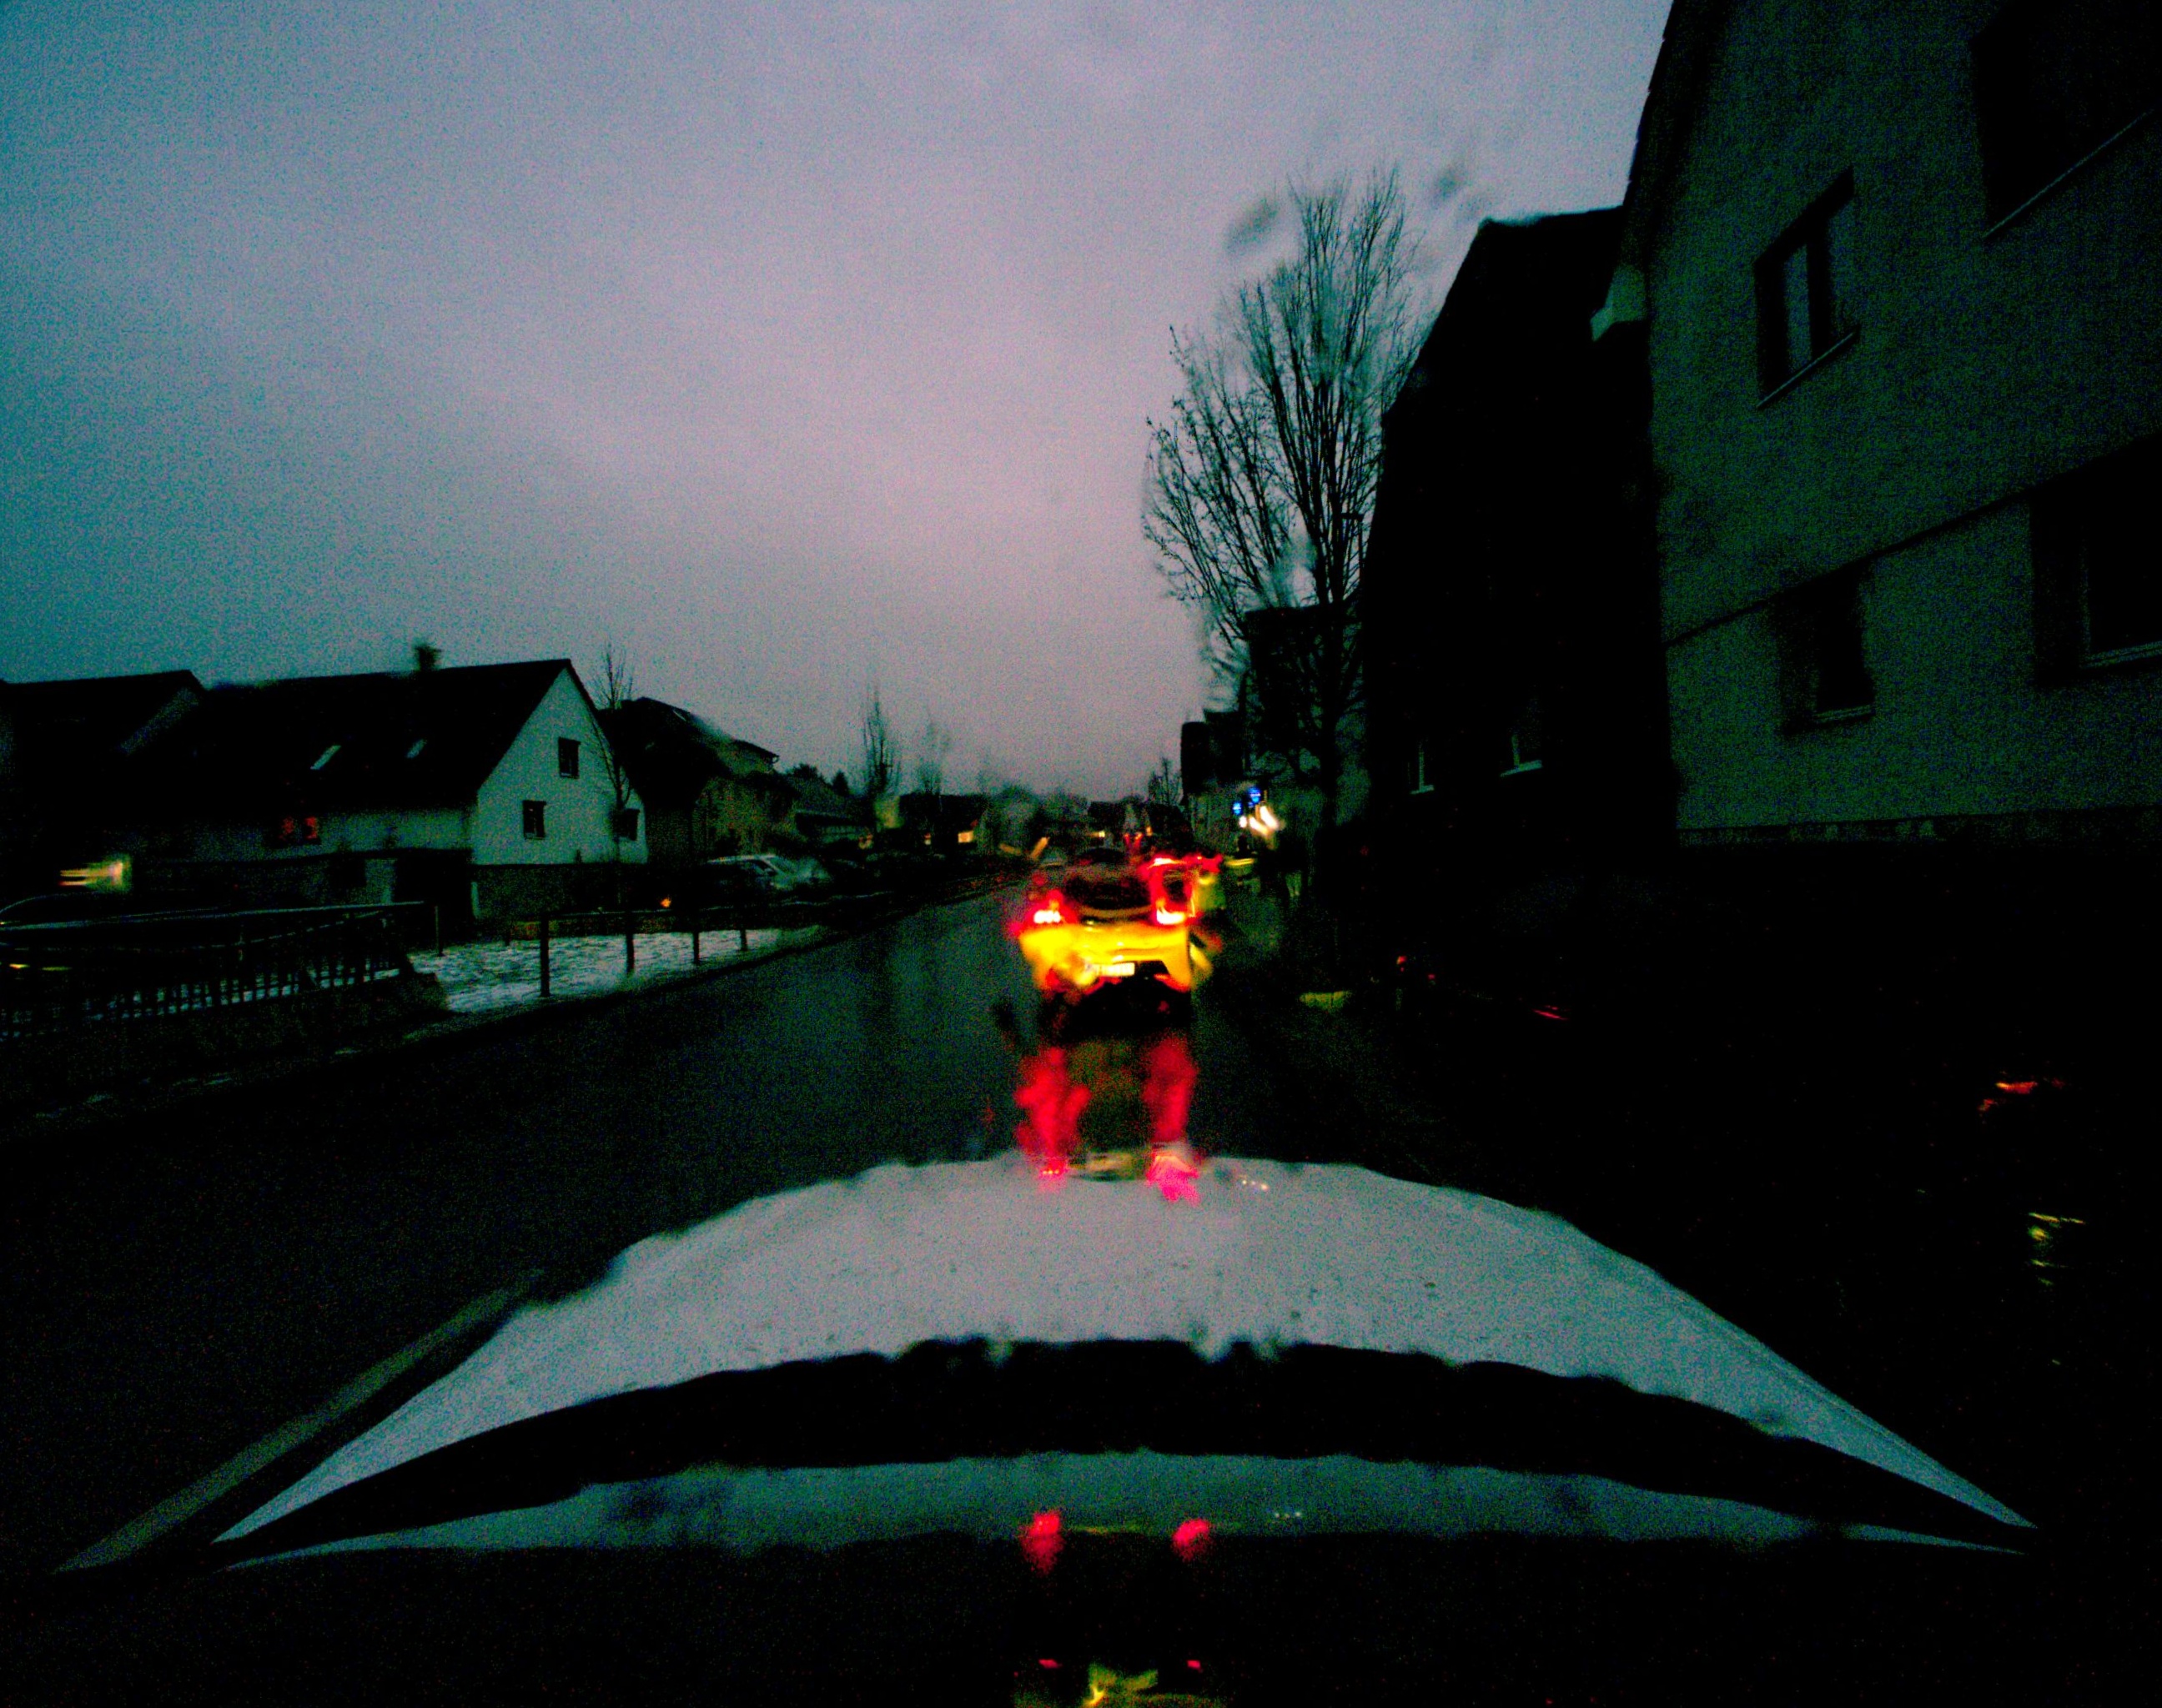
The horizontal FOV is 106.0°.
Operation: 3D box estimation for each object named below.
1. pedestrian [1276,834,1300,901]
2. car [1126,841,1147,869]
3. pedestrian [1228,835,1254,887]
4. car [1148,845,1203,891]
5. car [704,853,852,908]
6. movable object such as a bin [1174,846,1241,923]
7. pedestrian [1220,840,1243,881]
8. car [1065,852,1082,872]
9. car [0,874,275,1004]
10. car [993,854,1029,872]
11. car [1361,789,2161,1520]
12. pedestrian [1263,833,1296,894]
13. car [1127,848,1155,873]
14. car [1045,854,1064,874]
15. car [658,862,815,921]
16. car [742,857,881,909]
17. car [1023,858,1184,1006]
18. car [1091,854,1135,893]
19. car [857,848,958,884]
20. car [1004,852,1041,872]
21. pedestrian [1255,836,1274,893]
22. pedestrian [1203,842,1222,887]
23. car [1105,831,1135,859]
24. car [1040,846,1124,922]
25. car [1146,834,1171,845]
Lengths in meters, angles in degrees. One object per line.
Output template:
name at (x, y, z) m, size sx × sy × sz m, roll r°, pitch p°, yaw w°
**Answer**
pedestrian at (5.292, 0.358, 20.862) m, size 0.525 × 1.653 × 0.956 m, roll -1°, pitch -2°, yaw 12°
car at (5.266, 0.124, 77.332) m, size 1.862 × 2.469 × 4.446 m, roll -1°, pitch -2°, yaw 3°
pedestrian at (5.465, 0.225, 27.733) m, size 0.707 × 1.715 × 1.039 m, roll -3°, pitch 0°, yaw 15°
car at (3.751, 0.541, 32.936) m, size 1.729 × 1.692 × 4.387 m, roll -2°, pitch 0°, yaw 1°
car at (-9.078, 0.783, 24.529) m, size 3.772 × 1.523 × 1.718 m, roll -1°, pitch -1°, yaw 8°
movable object such as a bin at (2.559, 0.596, 16.682) m, size 1.124 × 1.420 × 1.419 m, roll -5°, pitch 0°, yaw 4°
pedestrian at (6.069, 0.257, 32.842) m, size 0.618 × 1.626 × 0.903 m, roll -2°, pitch 1°, yaw -11°
car at (-0.844, 0.973, 95.811) m, size 1.913 × 2.216 × 3.974 m, roll 0°, pitch -2°, yaw 0°
car at (-14.176, 1.149, 10.974) m, size 1.794 × 1.482 × 4.577 m, roll -4°, pitch 1°, yaw 4°
car at (-7.965, 1.039, 91.952) m, size 1.833 × 1.976 × 4.117 m, roll 2°, pitch -3°, yaw -44°
car at (2.791, 0.599, 3.750) m, size 1.721 × 1.464 × 4.203 m, roll -5°, pitch -1°, yaw 4°
pedestrian at (5.768, 0.276, 23.687) m, size 0.743 × 1.679 × 1.054 m, roll -4°, pitch -2°, yaw 8°
car at (4.738, 0.544, 64.851) m, size 1.990 × 1.865 × 4.085 m, roll -1°, pitch -1°, yaw 2°
car at (-2.792, 1.138, 87.789) m, size 1.913 × 2.028 × 3.974 m, roll 0°, pitch -2°, yaw 0°
car at (-9.121, 0.965, 21.753) m, size 3.432 × 1.372 × 1.601 m, roll -2°, pitch 0°, yaw 1°
car at (-8.970, 0.941, 27.237) m, size 4.074 × 1.608 × 1.589 m, roll -1°, pitch -1°, yaw 5°
car at (0.267, 0.765, 9.450) m, size 1.557 × 1.412 × 3.019 m, roll -1°, pitch 0°, yaw 2°
car at (1.164, 0.694, 30.093) m, size 1.535 × 1.331 × 3.312 m, roll -1°, pitch 0°, yaw 2°
car at (-8.630, 0.578, 40.824) m, size 4.611 × 1.667 × 1.999 m, roll -1°, pitch -1°, yaw -1°
car at (-6.850, 0.999, 94.850) m, size 2.011 × 2.167 × 4.331 m, roll 2°, pitch -3°, yaw -44°
pedestrian at (5.835, 0.329, 25.928) m, size 0.525 × 1.800 × 0.867 m, roll -1°, pitch 0°, yaw 12°
pedestrian at (5.097, 0.422, 31.631) m, size 0.571 × 1.699 × 0.653 m, roll -4°, pitch -1°, yaw 3°
car at (4.699, -0.992, 97.994) m, size 3.174 × 3.032 × 6.315 m, roll -1°, pitch -2°, yaw 6°
car at (0.122, 0.641, 19.465) m, size 1.759 × 1.628 × 3.589 m, roll -1°, pitch 0°, yaw 4°
car at (13.779, -2.630, 144.594) m, size 4.352 × 1.826 × 2.002 m, roll -1°, pitch -2°, yaw 4°
